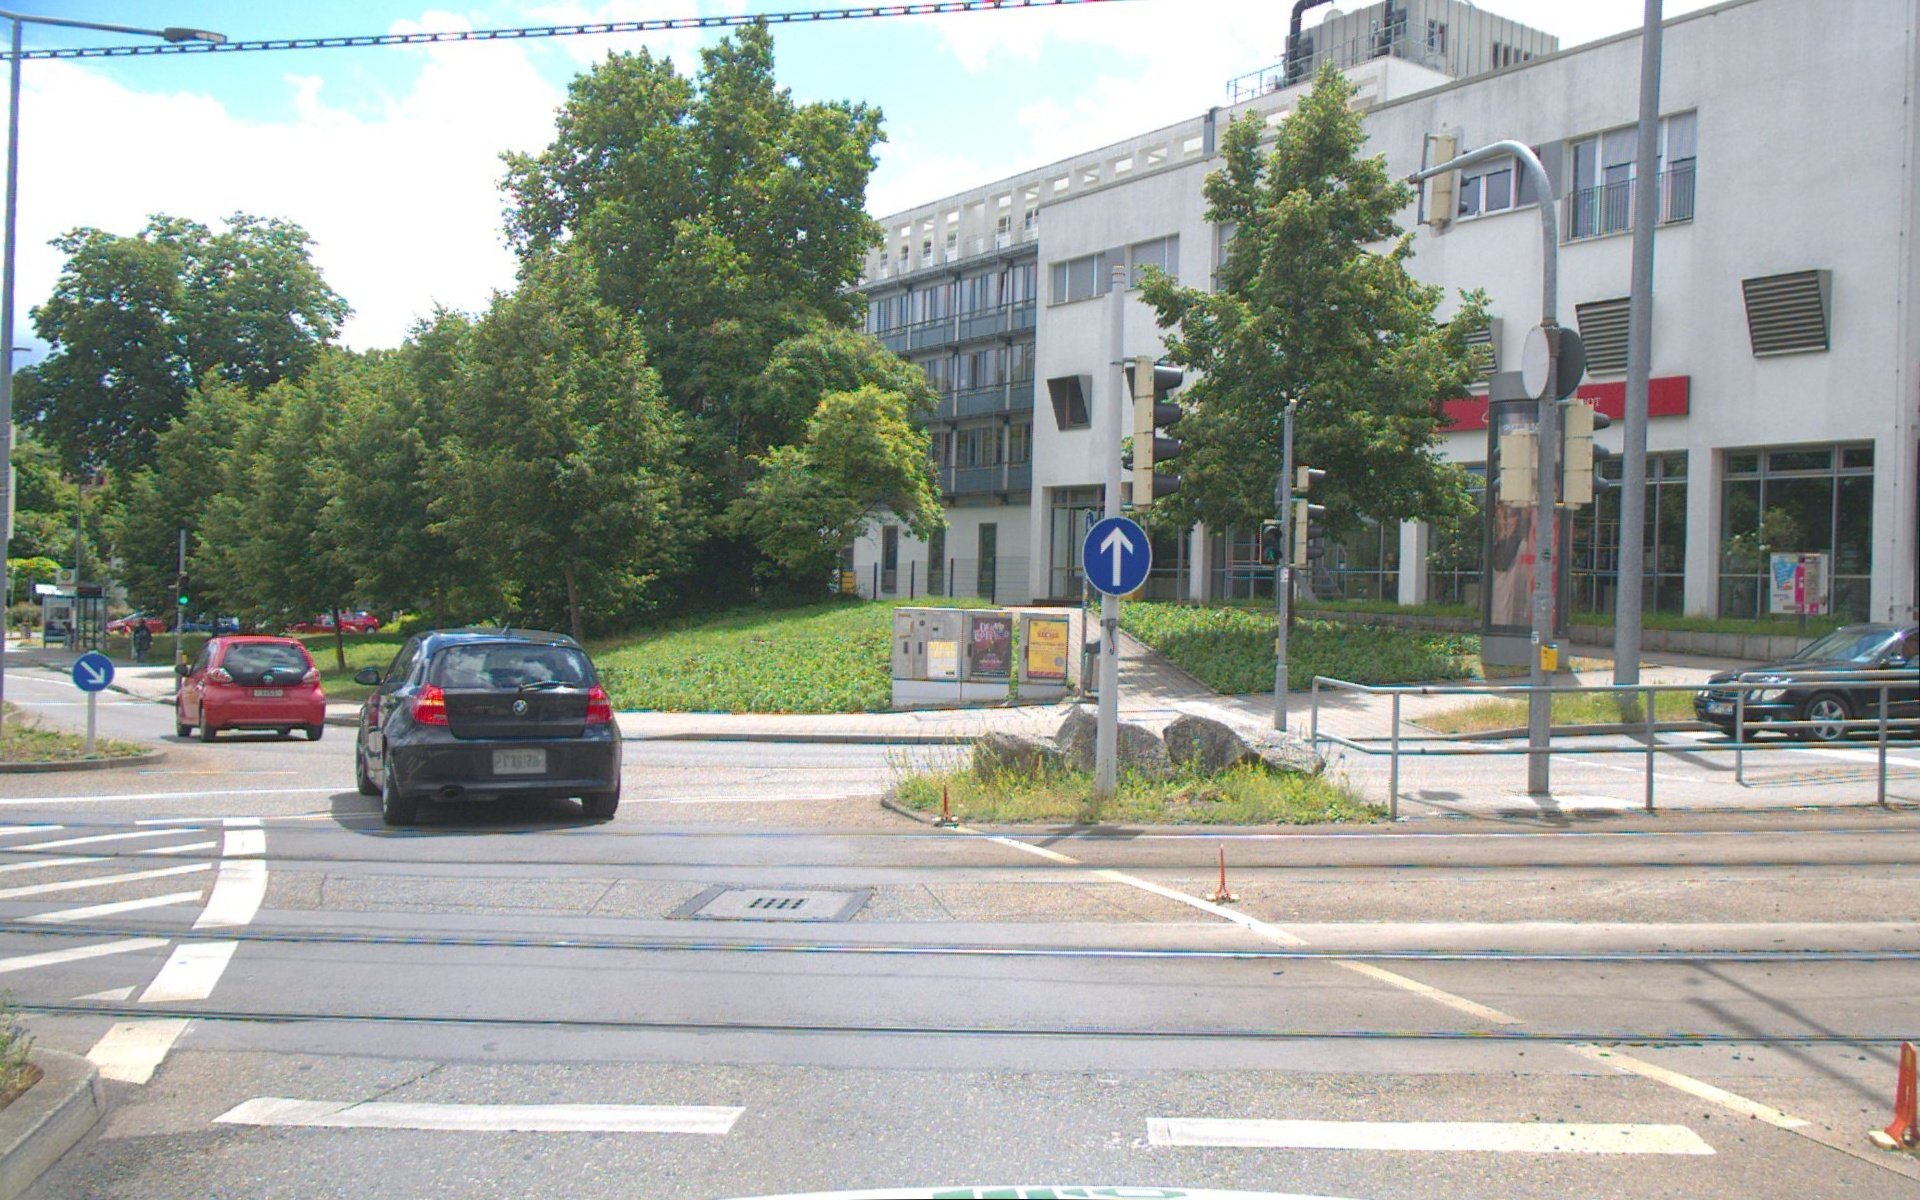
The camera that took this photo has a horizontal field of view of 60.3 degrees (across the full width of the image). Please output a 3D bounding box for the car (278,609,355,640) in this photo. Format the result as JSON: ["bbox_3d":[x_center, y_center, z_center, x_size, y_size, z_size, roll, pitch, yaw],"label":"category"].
[{"bbox_3d":[-36.081,1.369,92.765,3.665,1.672,1.803,1,1,-41],"label":"car"}]

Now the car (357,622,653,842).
[{"bbox_3d":[-3.824,0.926,13.418,1.791,1.445,3.971,0,0,-24],"label":"car"}]

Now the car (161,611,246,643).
[{"bbox_3d":[-40.611,1.436,88.812,3.772,1.482,1.868,-1,3,-41],"label":"car"}]

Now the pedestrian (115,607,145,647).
[{"bbox_3d":[-30.293,0.978,60.368,0.814,1.450,0.819,0,-1,-38],"label":"pedestrian"}]

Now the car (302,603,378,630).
[{"bbox_3d":[-38.484,0.983,102.699,4.057,1.528,1.971,-1,2,-41],"label":"car"}]

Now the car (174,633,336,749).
[{"bbox_3d":[-10.380,1.265,24.223,1.748,1.457,3.442,0,0,-31],"label":"car"}]

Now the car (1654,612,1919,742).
[{"bbox_3d":[11.146,0.900,20.609,4.235,1.491,2.046,0,-1,-13],"label":"car"}]

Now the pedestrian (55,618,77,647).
[{"bbox_3d":[-40.514,1.461,74.958,0.820,1.281,0.677,0,0,-36],"label":"pedestrian"}]
